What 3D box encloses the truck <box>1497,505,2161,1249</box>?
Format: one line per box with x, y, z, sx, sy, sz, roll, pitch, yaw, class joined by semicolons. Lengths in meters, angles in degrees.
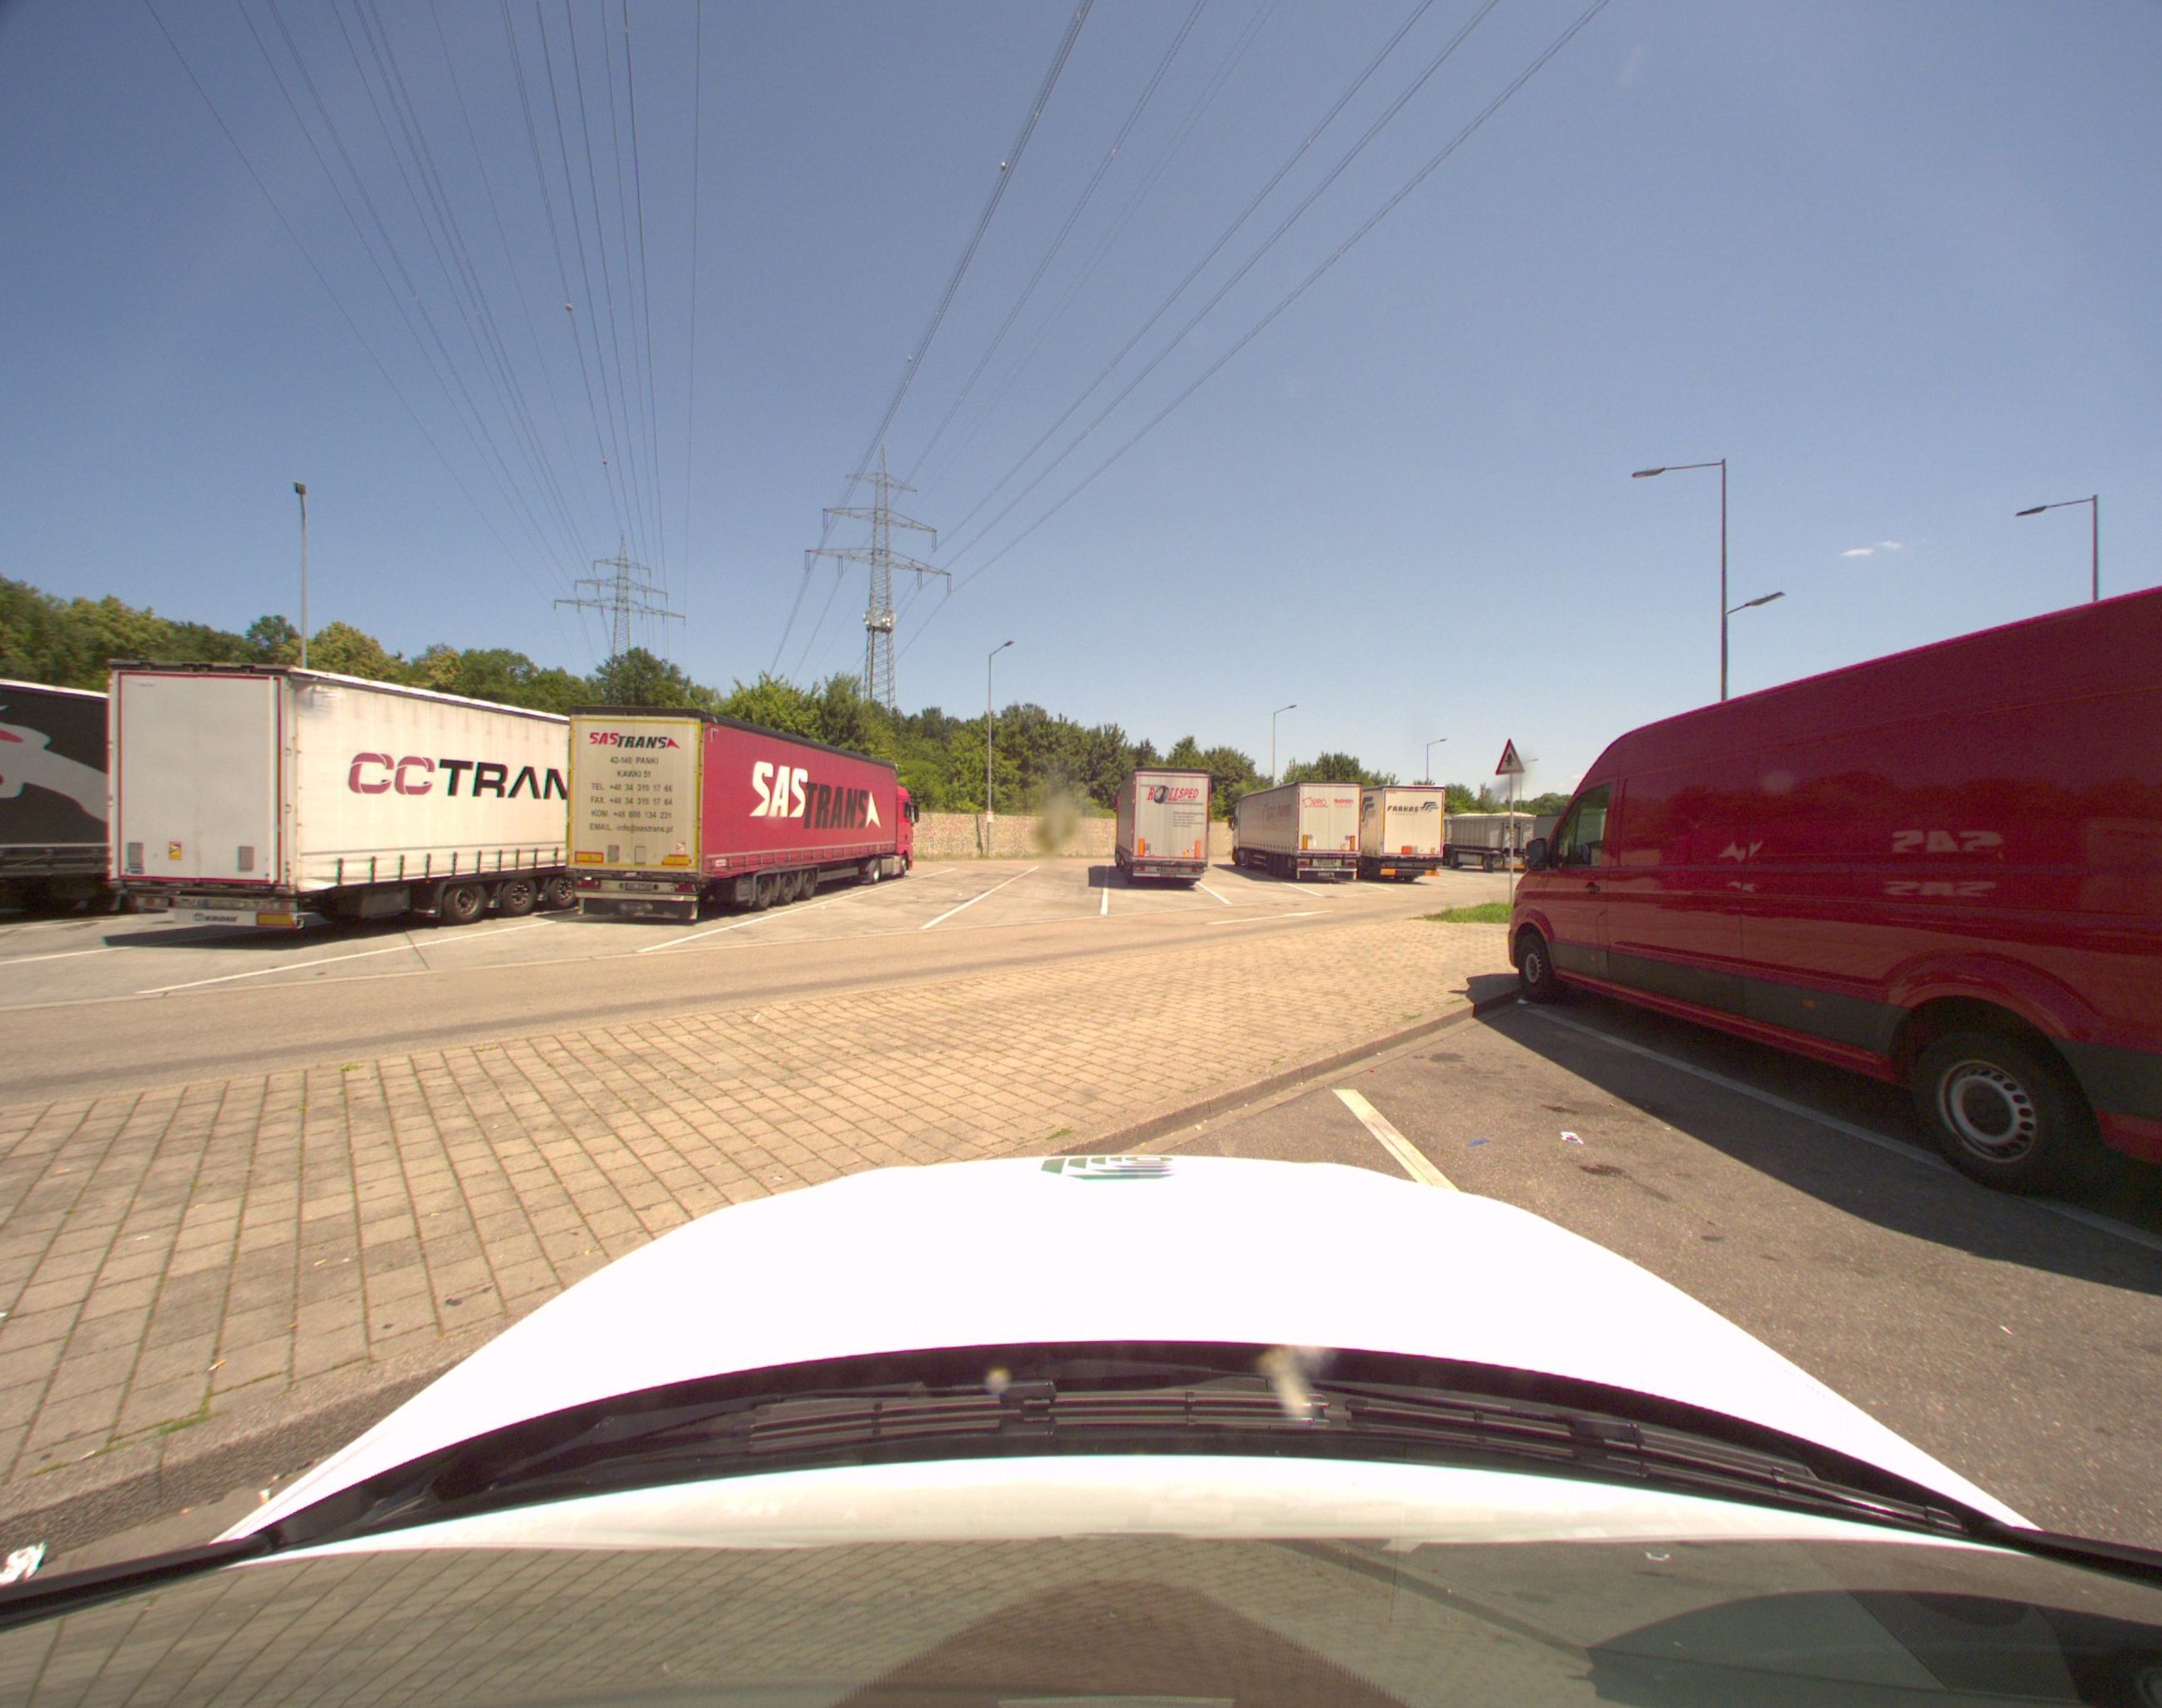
5.133;0.079;5.437;2.001;2.651;6.466;-1;0;6;truck

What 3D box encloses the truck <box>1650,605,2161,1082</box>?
7.993;-0.071;6.870;2.406;2.906;6.466;-1;0;6;truck

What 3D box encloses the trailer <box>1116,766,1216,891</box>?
3.039;-1.043;33.194;2.848;3.971;13.767;1;2;1;trailer

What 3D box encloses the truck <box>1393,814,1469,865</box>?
24.618;-1.073;57.581;2.855;3.362;5.977;1;2;2;truck

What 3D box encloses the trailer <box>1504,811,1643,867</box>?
38.213;-1.287;64.165;2.847;3.904;13.770;1;2;2;trailer

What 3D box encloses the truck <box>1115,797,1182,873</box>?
3.130;-0.932;39.396;2.855;3.362;5.977;1;2;2;truck

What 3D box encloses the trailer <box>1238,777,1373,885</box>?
9.972;-1.114;38.285;2.847;4.109;13.770;1;2;2;trailer

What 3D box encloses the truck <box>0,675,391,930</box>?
-18.558;-0.935;15.815;2.696;4.070;8.694;1;2;2;truck

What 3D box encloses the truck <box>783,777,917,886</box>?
-7.841;-0.789;28.529;2.801;3.362;5.977;1;2;2;truck

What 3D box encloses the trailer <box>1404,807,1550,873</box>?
24.432;-0.987;51.484;2.847;3.599;13.770;1;2;2;trailer

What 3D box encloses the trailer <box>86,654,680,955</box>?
-12.170;-0.838;16.408;2.696;4.101;10.395;1;2;2;trailer

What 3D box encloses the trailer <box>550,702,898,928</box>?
-8.055;-0.923;21.712;2.811;4.070;13.770;1;2;2;trailer

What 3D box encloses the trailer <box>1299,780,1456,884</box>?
13.600;-1.088;39.209;2.847;4.109;13.770;1;2;2;trailer

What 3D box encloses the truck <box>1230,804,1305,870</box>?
10.170;-0.970;45.049;2.855;3.362;5.977;1;2;2;truck
